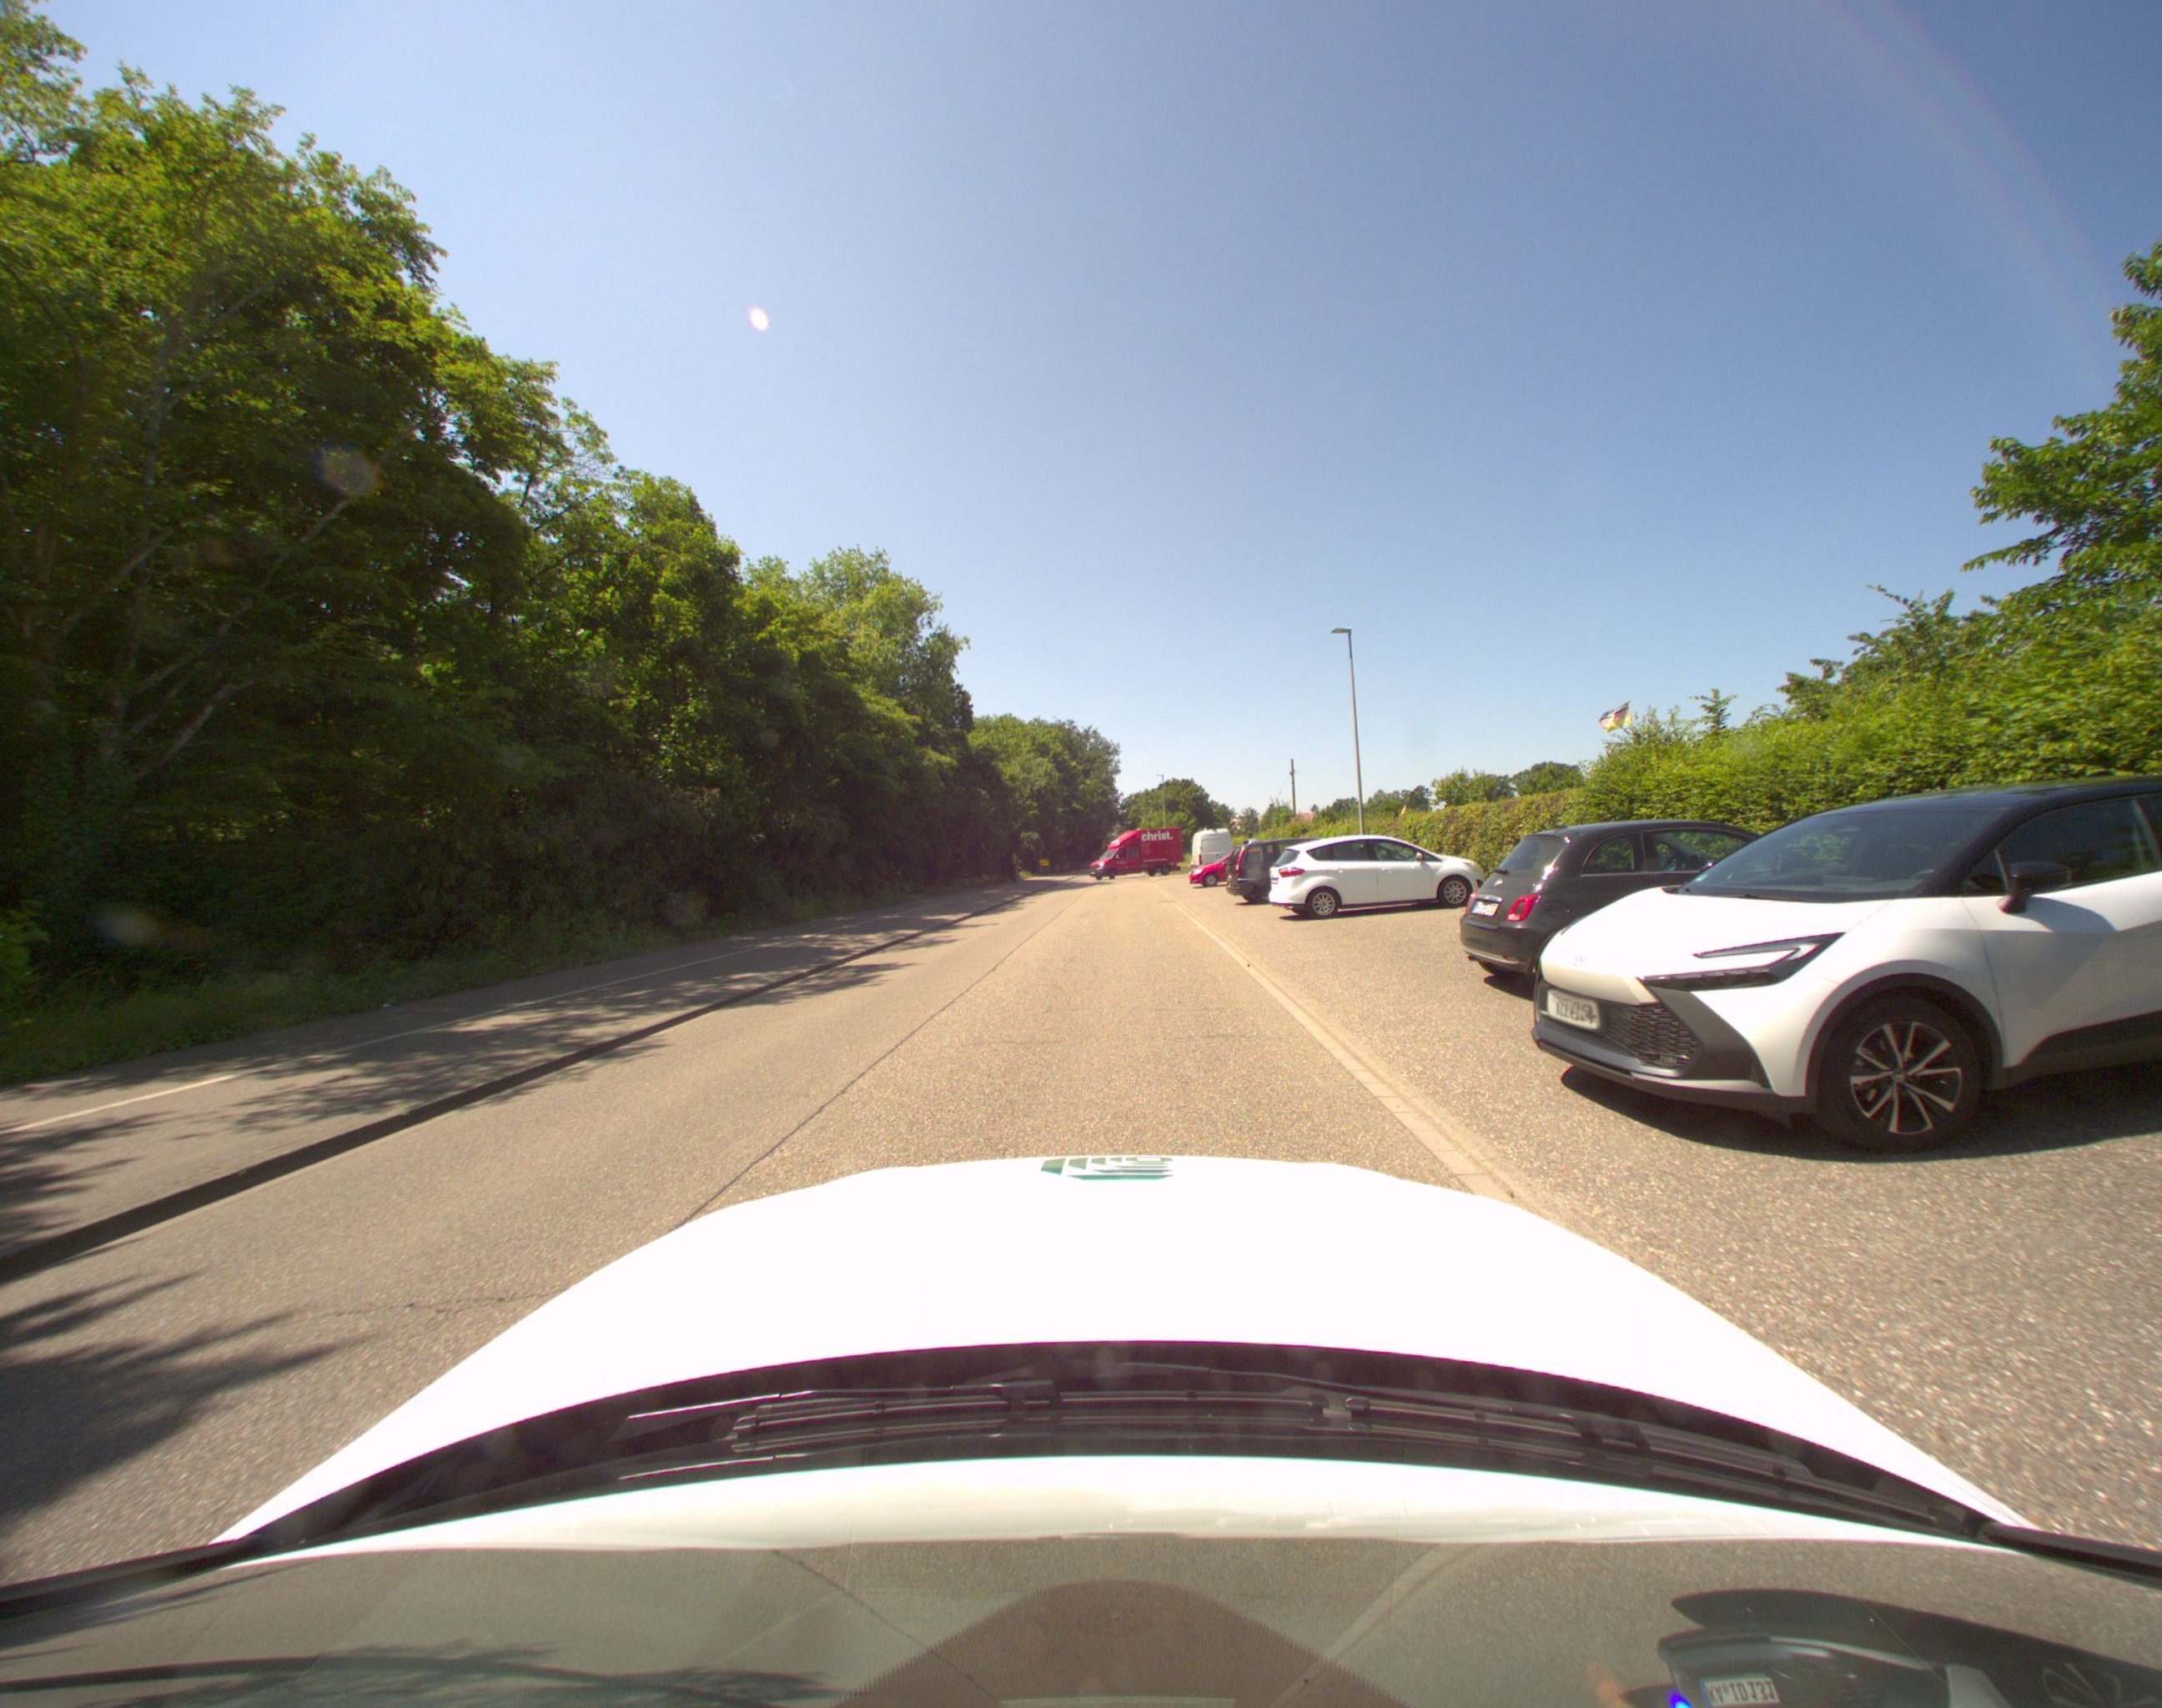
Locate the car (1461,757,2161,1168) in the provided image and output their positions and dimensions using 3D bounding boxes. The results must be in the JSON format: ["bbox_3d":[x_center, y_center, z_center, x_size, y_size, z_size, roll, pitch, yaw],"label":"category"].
[{"bbox_3d":[4.615,0.397,4.617,3.954,1.523,1.862,-6,0,-3],"label":"car"}]

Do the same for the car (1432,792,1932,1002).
[{"bbox_3d":[5.346,0.372,7.638,3.371,1.504,1.590,-5,0,5],"label":"car"}]

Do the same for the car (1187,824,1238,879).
[{"bbox_3d":[7.417,-0.163,46.621,1.946,2.733,7.175,-5,0,4],"label":"car"}]

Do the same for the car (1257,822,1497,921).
[{"bbox_3d":[6.051,0.344,17.012,4.262,1.578,1.765,-5,0,0],"label":"car"}]

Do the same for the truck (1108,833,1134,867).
[{"bbox_3d":[4.830,-0.399,96.613,2.722,3.746,13.258,-2,0,4],"label":"truck"}]

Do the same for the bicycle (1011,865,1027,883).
[{"bbox_3d":[-4.513,1.449,59.300,0.517,1.236,1.969,-2,-1,15],"label":"bicycle"}]

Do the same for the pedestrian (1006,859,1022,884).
[{"bbox_3d":[-4.872,1.265,59.318,0.801,1.718,0.780,-2,-1,18],"label":"pedestrian"}]

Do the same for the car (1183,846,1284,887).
[{"bbox_3d":[6.702,0.543,36.107,4.041,1.434,1.835,-5,0,-1],"label":"car"}]

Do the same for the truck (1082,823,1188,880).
[{"bbox_3d":[3.943,-0.216,58.685,7.176,3.439,2.310,-6,1,-26],"label":"truck"}]

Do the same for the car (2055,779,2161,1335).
[{"bbox_3d":[4.652,0.378,1.688,3.444,1.527,1.538,-6,0,-3],"label":"car"}]

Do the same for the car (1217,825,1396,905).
[{"bbox_3d":[6.337,0.314,23.263,4.441,1.804,1.951,-5,-1,-2],"label":"car"}]
